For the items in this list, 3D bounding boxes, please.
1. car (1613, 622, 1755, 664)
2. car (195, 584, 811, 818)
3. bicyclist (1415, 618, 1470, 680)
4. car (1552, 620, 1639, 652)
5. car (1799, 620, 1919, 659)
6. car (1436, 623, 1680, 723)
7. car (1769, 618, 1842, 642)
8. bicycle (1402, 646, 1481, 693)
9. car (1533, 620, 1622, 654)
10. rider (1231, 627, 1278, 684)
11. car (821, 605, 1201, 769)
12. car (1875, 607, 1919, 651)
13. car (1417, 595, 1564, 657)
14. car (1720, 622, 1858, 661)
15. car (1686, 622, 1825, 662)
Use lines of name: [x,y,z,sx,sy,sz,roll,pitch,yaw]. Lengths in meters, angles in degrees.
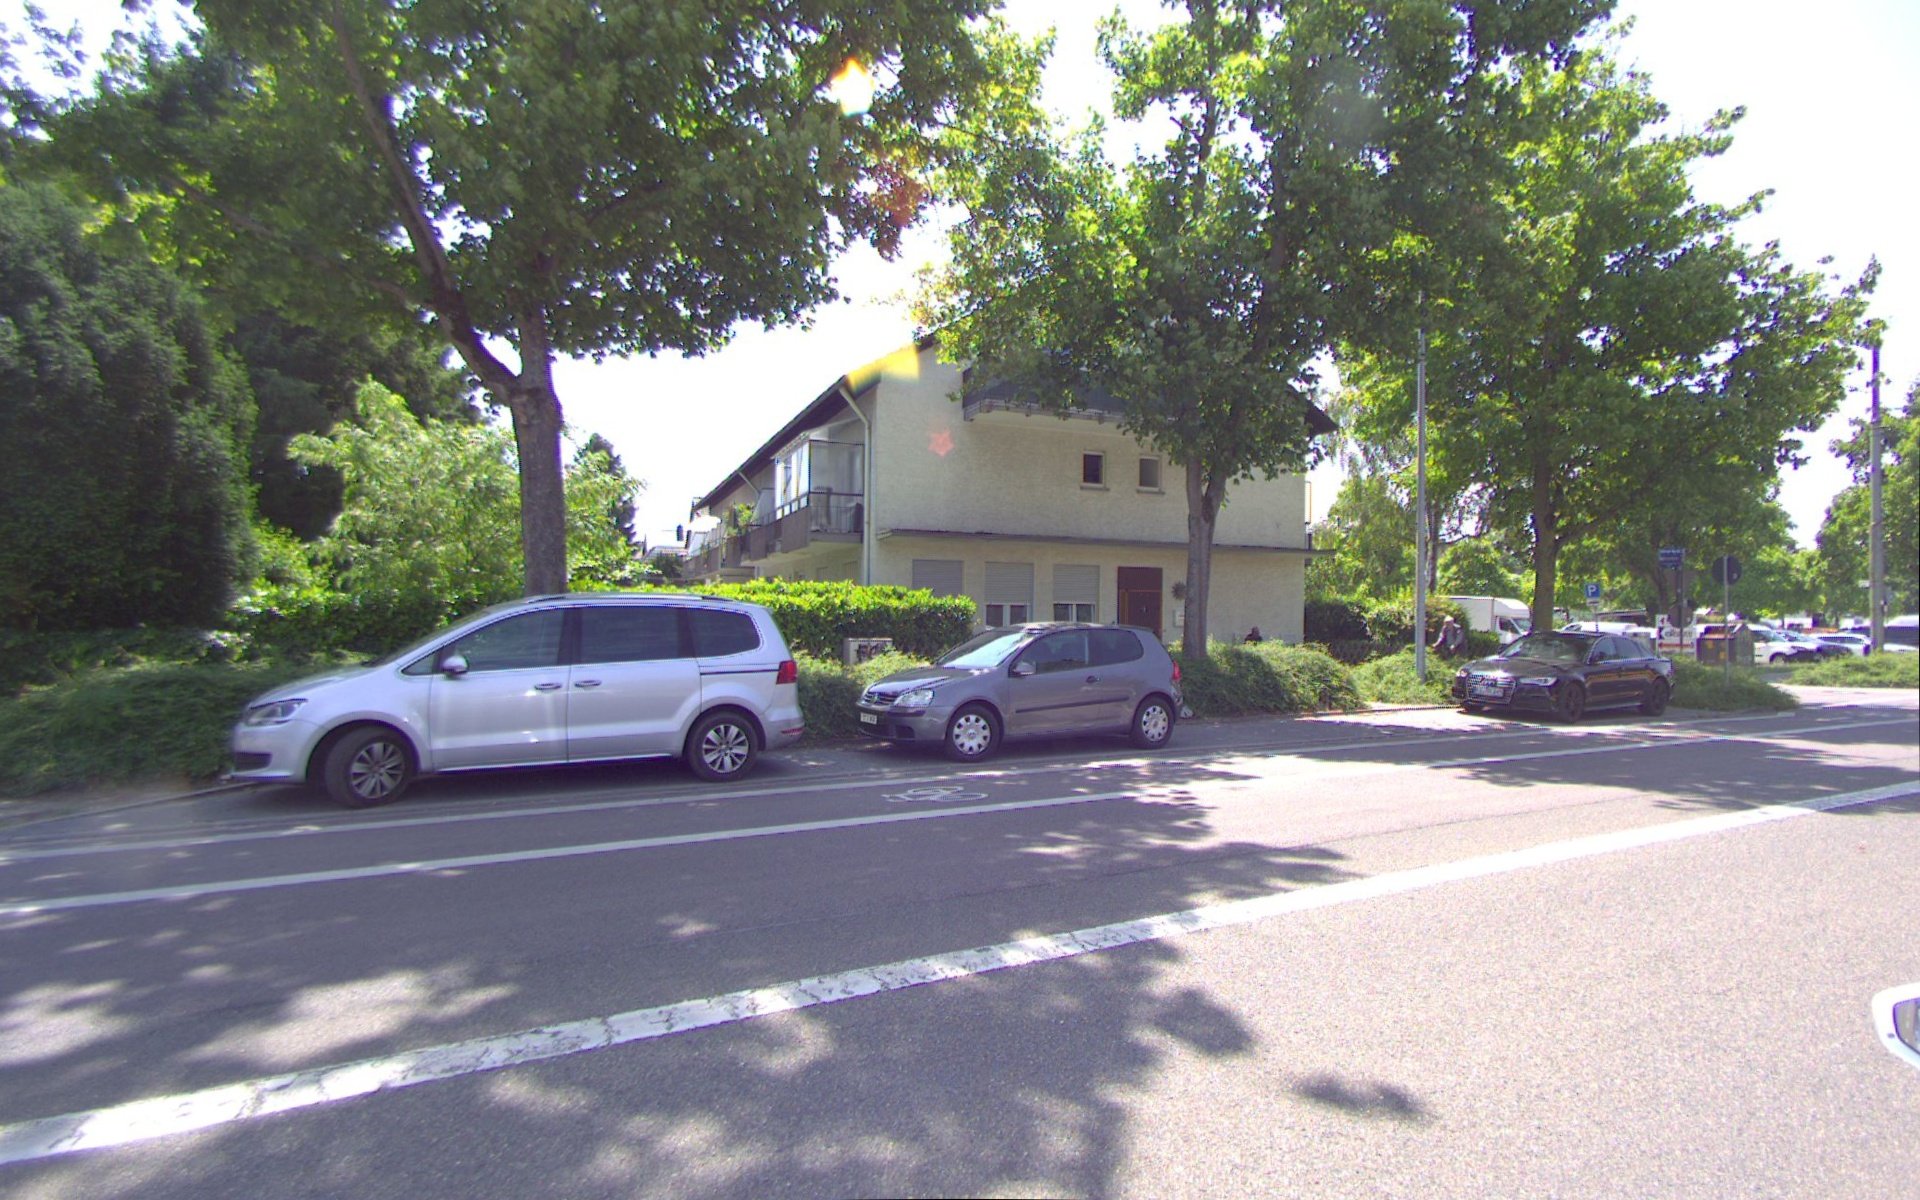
car: [29.396,1.718,40.903,1.891,1.606,4.321,1,-1,-31]
car: [-3.932,0.754,9.251,4.725,1.687,1.863,1,0,-31]
bicyclist: [11.401,1.149,23.744,0.817,1.392,0.806,2,1,-27]
car: [37.521,2.110,59.364,1.799,1.675,3.957,2,1,-37]
car: [43.194,1.869,48.292,1.975,1.769,3.968,1,-1,-30]
car: [10.586,1.209,17.713,4.397,1.496,1.809,1,1,-31]
car: [66.362,2.343,78.870,1.795,1.638,4.000,2,1,-30]
bicycle: [11.390,1.635,23.764,1.805,1.043,0.698,2,1,-27]
car: [35.575,2.104,57.924,1.799,1.675,3.957,2,1,-37]
rider: [7.394,1.377,25.274,0.800,1.392,0.824,1,-1,-22]
car: [0.650,0.903,11.787,4.132,1.585,1.809,1,1,-31]
car: [52.261,1.632,53.216,2.349,2.274,5.076,2,1,-28]
car: [28.786,1.345,54.802,2.337,3.005,6.816,2,1,-30]
car: [36.372,1.787,44.229,1.886,1.606,4.333,1,-1,-23]
car: [33.860,1.738,42.896,1.886,1.606,4.332,1,-1,-24]
